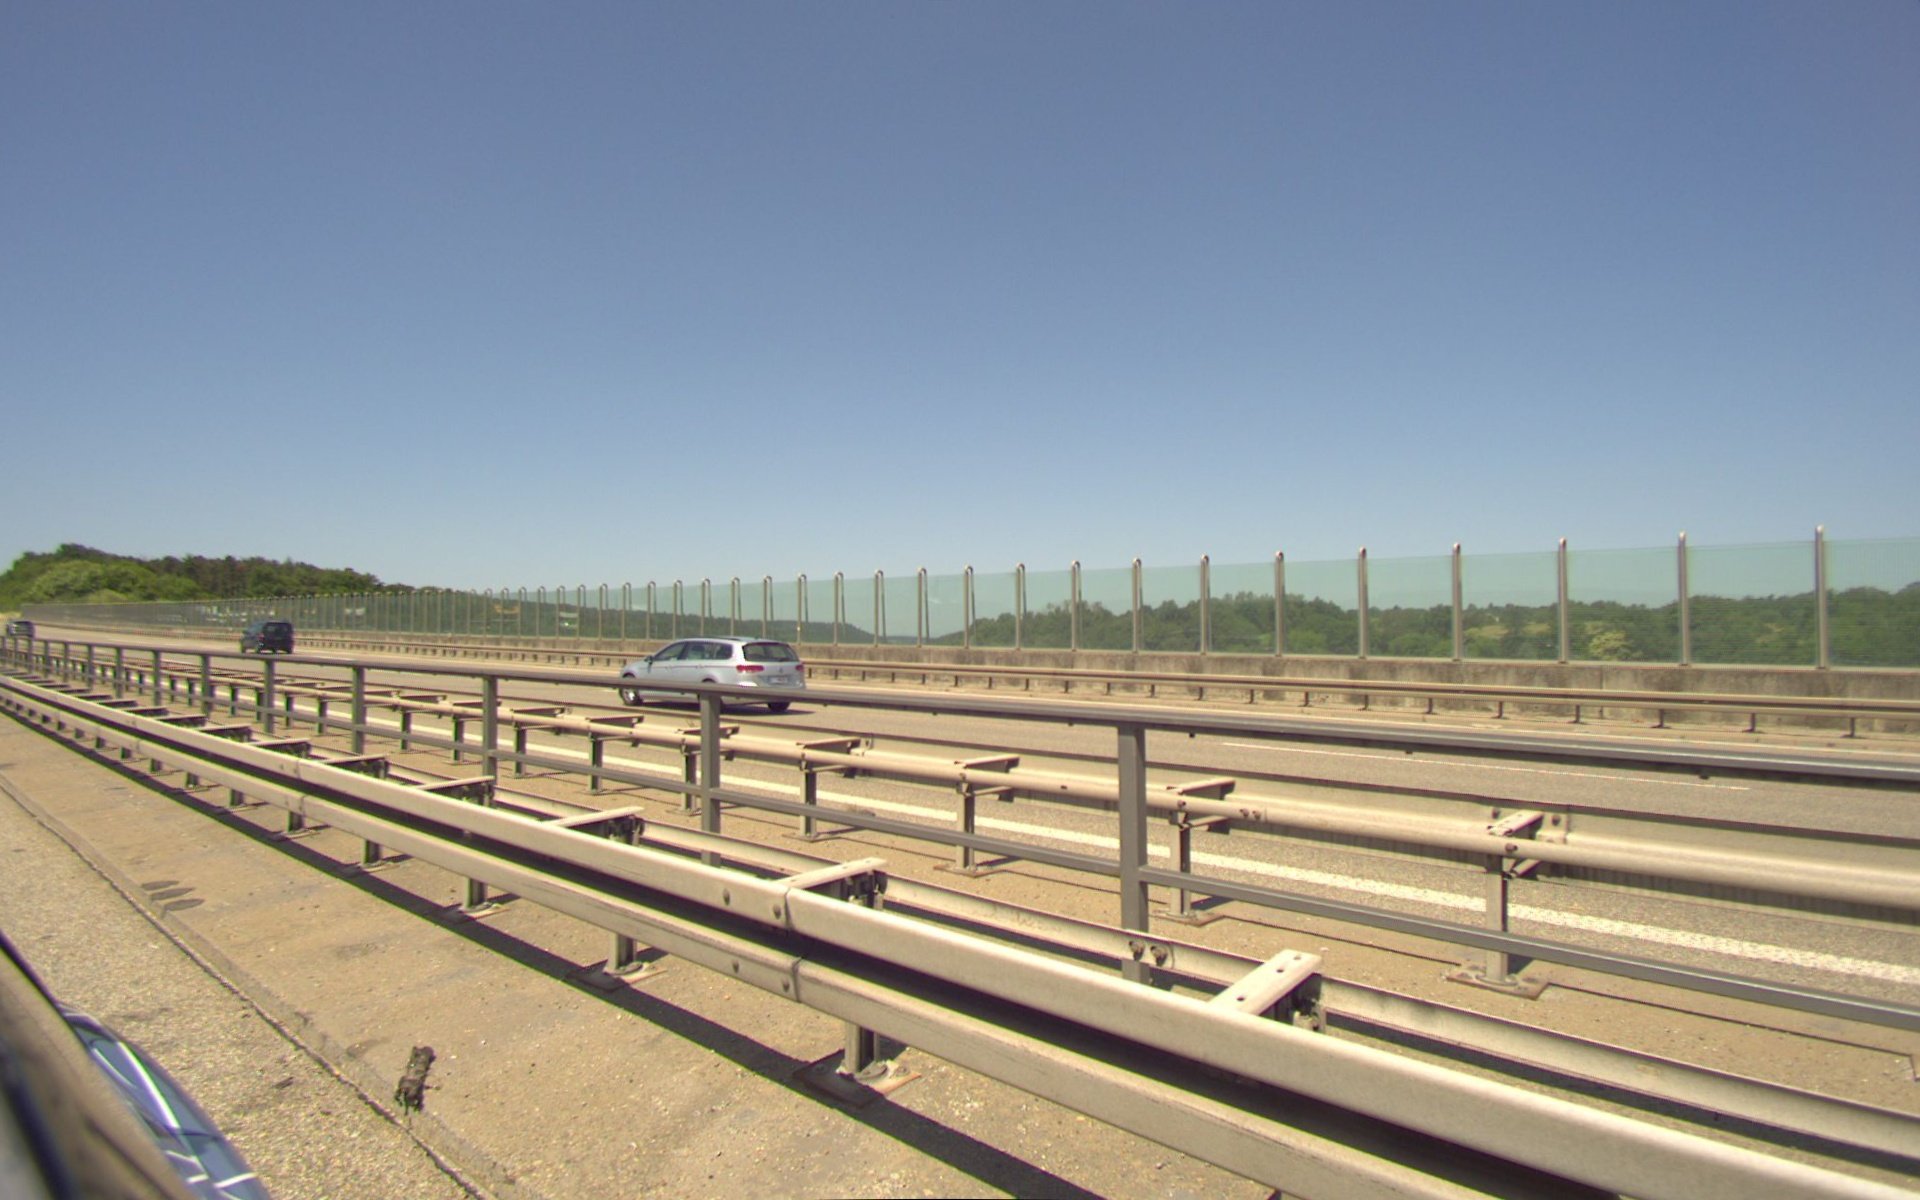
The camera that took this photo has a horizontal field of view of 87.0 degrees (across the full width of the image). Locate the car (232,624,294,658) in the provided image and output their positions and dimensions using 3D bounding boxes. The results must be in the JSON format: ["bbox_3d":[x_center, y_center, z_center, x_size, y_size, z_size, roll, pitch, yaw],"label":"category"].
[{"bbox_3d":[-38.625,2.242,56.077,4.299,1.798,1.764,-1,-2,40],"label":"car"}]

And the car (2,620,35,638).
[{"bbox_3d":[-84.783,2.629,91.152,3.998,1.559,1.736,-1,-3,41],"label":"car"}]

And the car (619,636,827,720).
[{"bbox_3d":[-4.720,1.458,19.891,4.163,1.405,1.890,-1,-3,41],"label":"car"}]
